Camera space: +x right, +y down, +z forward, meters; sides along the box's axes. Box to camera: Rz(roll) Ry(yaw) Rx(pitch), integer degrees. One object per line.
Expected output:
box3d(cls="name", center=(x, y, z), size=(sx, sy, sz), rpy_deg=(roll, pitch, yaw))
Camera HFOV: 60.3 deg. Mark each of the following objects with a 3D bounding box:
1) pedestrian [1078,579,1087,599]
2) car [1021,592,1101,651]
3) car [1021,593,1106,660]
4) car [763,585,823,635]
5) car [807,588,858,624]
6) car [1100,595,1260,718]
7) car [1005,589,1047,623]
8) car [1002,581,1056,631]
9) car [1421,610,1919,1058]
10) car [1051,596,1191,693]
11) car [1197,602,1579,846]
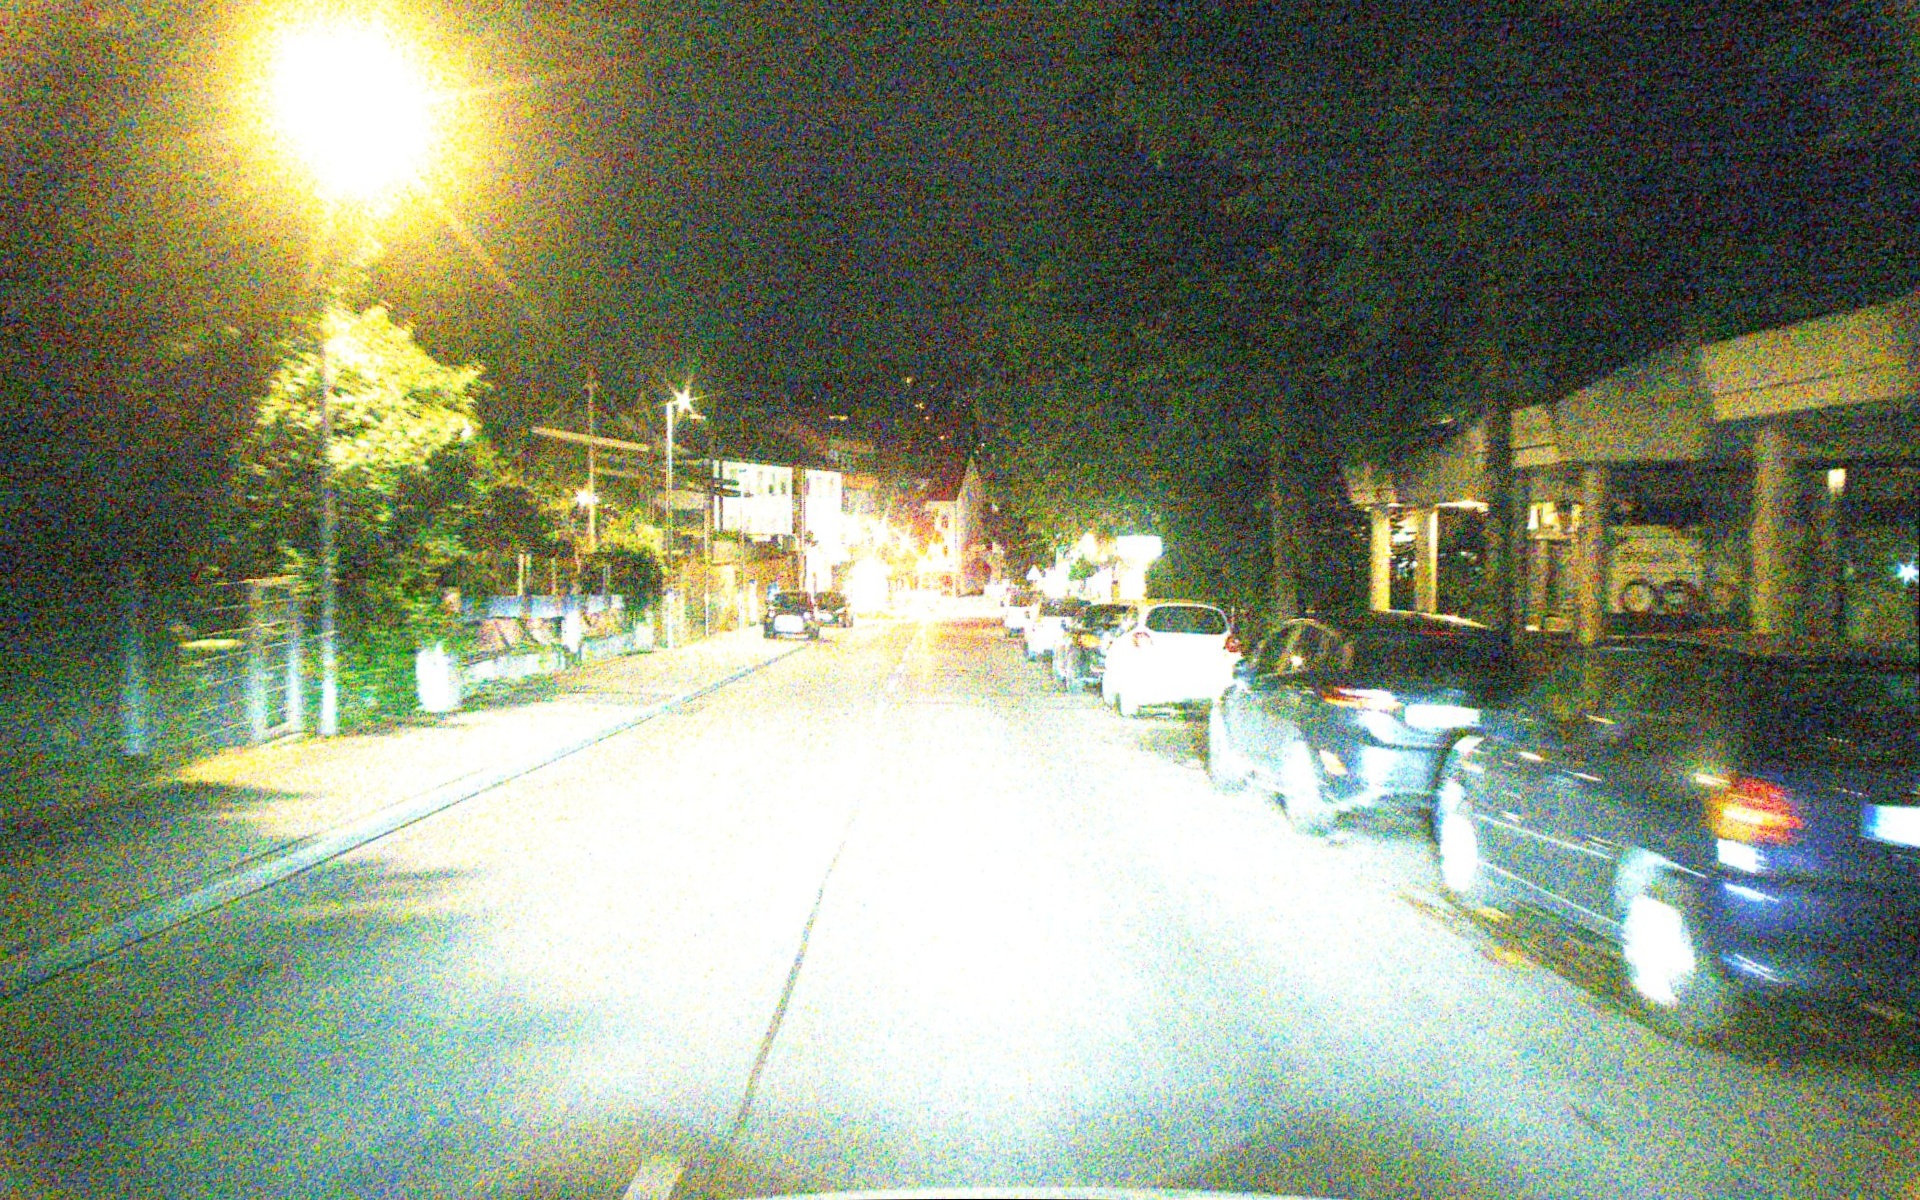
box3d(cls="pedestrian", center=(11.487, -1.023, 154.796), size=(0.700, 1.827, 0.738), rpy_deg=(1, -1, 12))
box3d(cls="car", center=(2.699, 0.545, 45.030), size=(1.744, 1.462, 4.288), rpy_deg=(1, 0, -2))
box3d(cls="car", center=(2.375, 0.580, 39.013), size=(1.642, 1.472, 4.611), rpy_deg=(0, 0, -1))
box3d(cls="car", center=(-5.437, 0.339, 54.240), size=(1.657, 1.550, 3.690), rpy_deg=(1, -1, -1))
box3d(cls="car", center=(-5.466, 0.236, 71.417), size=(1.656, 1.462, 4.129), rpy_deg=(2, 1, 3))
box3d(cls="car", center=(2.918, 0.704, 22.661), size=(1.605, 1.492, 3.775), rpy_deg=(2, 0, -1))
box3d(cls="car", center=(3.018, 0.251, 76.151), size=(1.819, 1.467, 4.595), rpy_deg=(-2, 0, 1))
box3d(cls="car", center=(2.435, 0.183, 59.315), size=(1.750, 1.670, 4.380), rpy_deg=(-2, 0, 1))
box3d(cls="car", center=(3.315, 0.791, 7.217), size=(1.567, 1.423, 3.517), rpy_deg=(1, 0, -1))
box3d(cls="car", center=(2.581, 0.680, 27.437), size=(1.726, 1.440, 4.438), rpy_deg=(1, 0, -2))
box3d(cls="car", center=(2.958, 0.771, 12.296), size=(1.643, 1.472, 3.998), rpy_deg=(0, 0, -3))
